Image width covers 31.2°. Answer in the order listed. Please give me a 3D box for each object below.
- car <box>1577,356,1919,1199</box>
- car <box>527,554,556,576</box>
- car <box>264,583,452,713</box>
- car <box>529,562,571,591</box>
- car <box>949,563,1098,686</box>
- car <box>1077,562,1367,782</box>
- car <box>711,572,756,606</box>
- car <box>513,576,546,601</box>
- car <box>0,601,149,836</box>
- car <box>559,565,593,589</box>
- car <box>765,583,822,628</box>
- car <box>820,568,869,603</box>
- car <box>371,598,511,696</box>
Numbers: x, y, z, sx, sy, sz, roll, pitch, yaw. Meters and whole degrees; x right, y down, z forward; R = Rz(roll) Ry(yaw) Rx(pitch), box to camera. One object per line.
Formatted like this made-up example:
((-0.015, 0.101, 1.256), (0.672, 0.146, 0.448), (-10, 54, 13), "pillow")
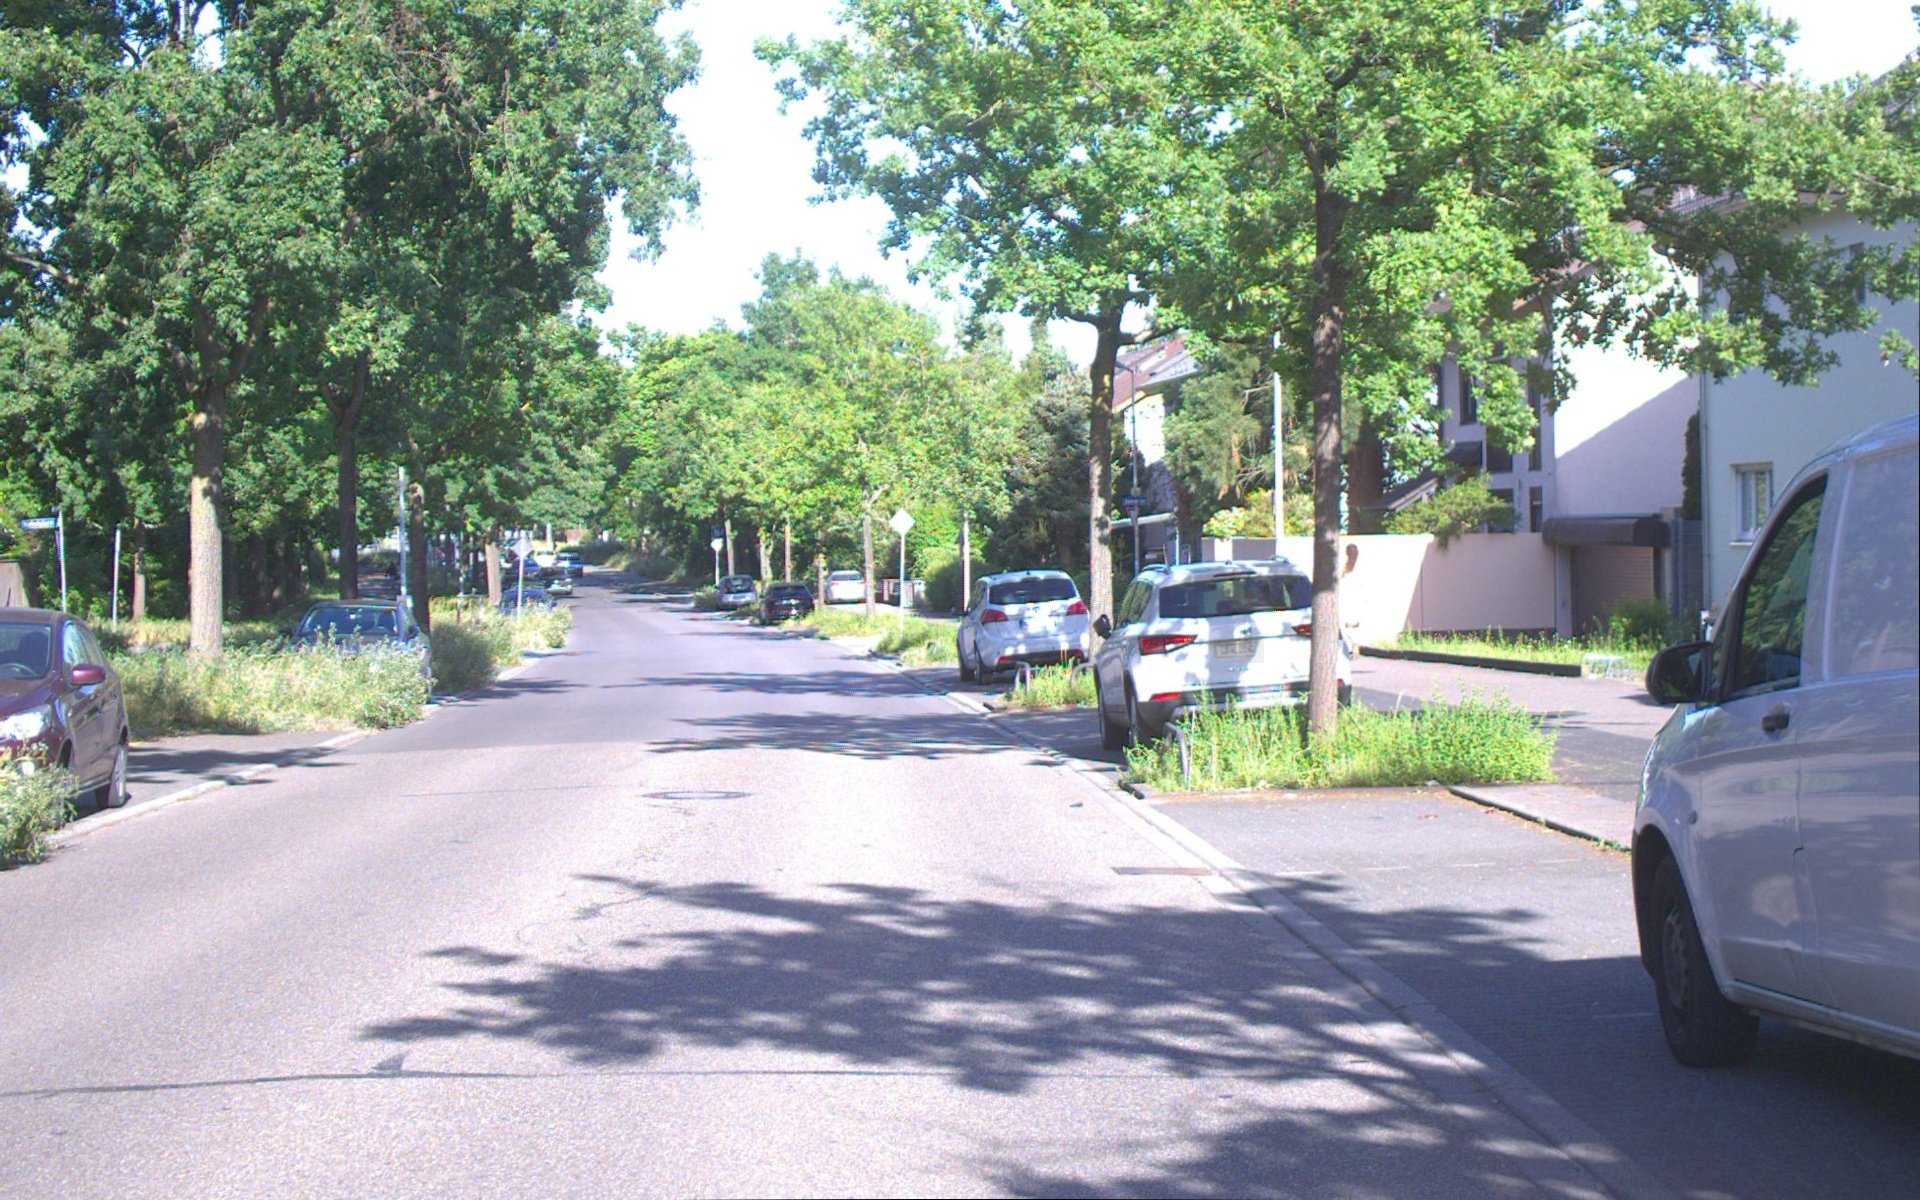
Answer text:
((3.050, 0.413, 8.817), (1.835, 1.964, 4.759), (-1, 0, -3), "car")
((-28.616, -2.377, 235.048), (1.755, 1.449, 4.001), (-1, 0, -4), "car")
((-7.513, 0.568, 43.228), (1.993, 1.551, 4.001), (0, 0, -5), "car")
((-21.195, -1.189, 177.656), (1.933, 1.449, 4.001), (-1, 0, -4), "car")
((0.911, 0.347, 51.472), (1.933, 1.736, 4.000), (-1, 0, -3), "car")
((2.128, 0.552, 29.012), (1.935, 1.698, 4.000), (-1, 0, -3), "car")
((-9.820, -0.487, 148.903), (1.933, 1.449, 4.001), (-1, 0, -4), "car")
((-25.762, -0.674, 205.811), (1.755, 1.449, 4.001), (-1, 0, -4), "car")
((-6.947, 0.769, 23.888), (1.935, 1.474, 4.001), (-1, 0, -4), "car")
((-24.610, -1.471, 220.360), (1.933, 1.449, 4.001), (-1, 0, -4), "car")
((-5.826, 0.176, 120.428), (1.933, 1.537, 4.000), (-1, 0, -3), "car")
((-4.944, -0.625, 146.550), (1.933, 1.449, 4.001), (-1, 0, -4), "car")
((-8.302, 0.730, 55.221), (1.796, 1.474, 3.520), (-1, 0, -2), "car")
